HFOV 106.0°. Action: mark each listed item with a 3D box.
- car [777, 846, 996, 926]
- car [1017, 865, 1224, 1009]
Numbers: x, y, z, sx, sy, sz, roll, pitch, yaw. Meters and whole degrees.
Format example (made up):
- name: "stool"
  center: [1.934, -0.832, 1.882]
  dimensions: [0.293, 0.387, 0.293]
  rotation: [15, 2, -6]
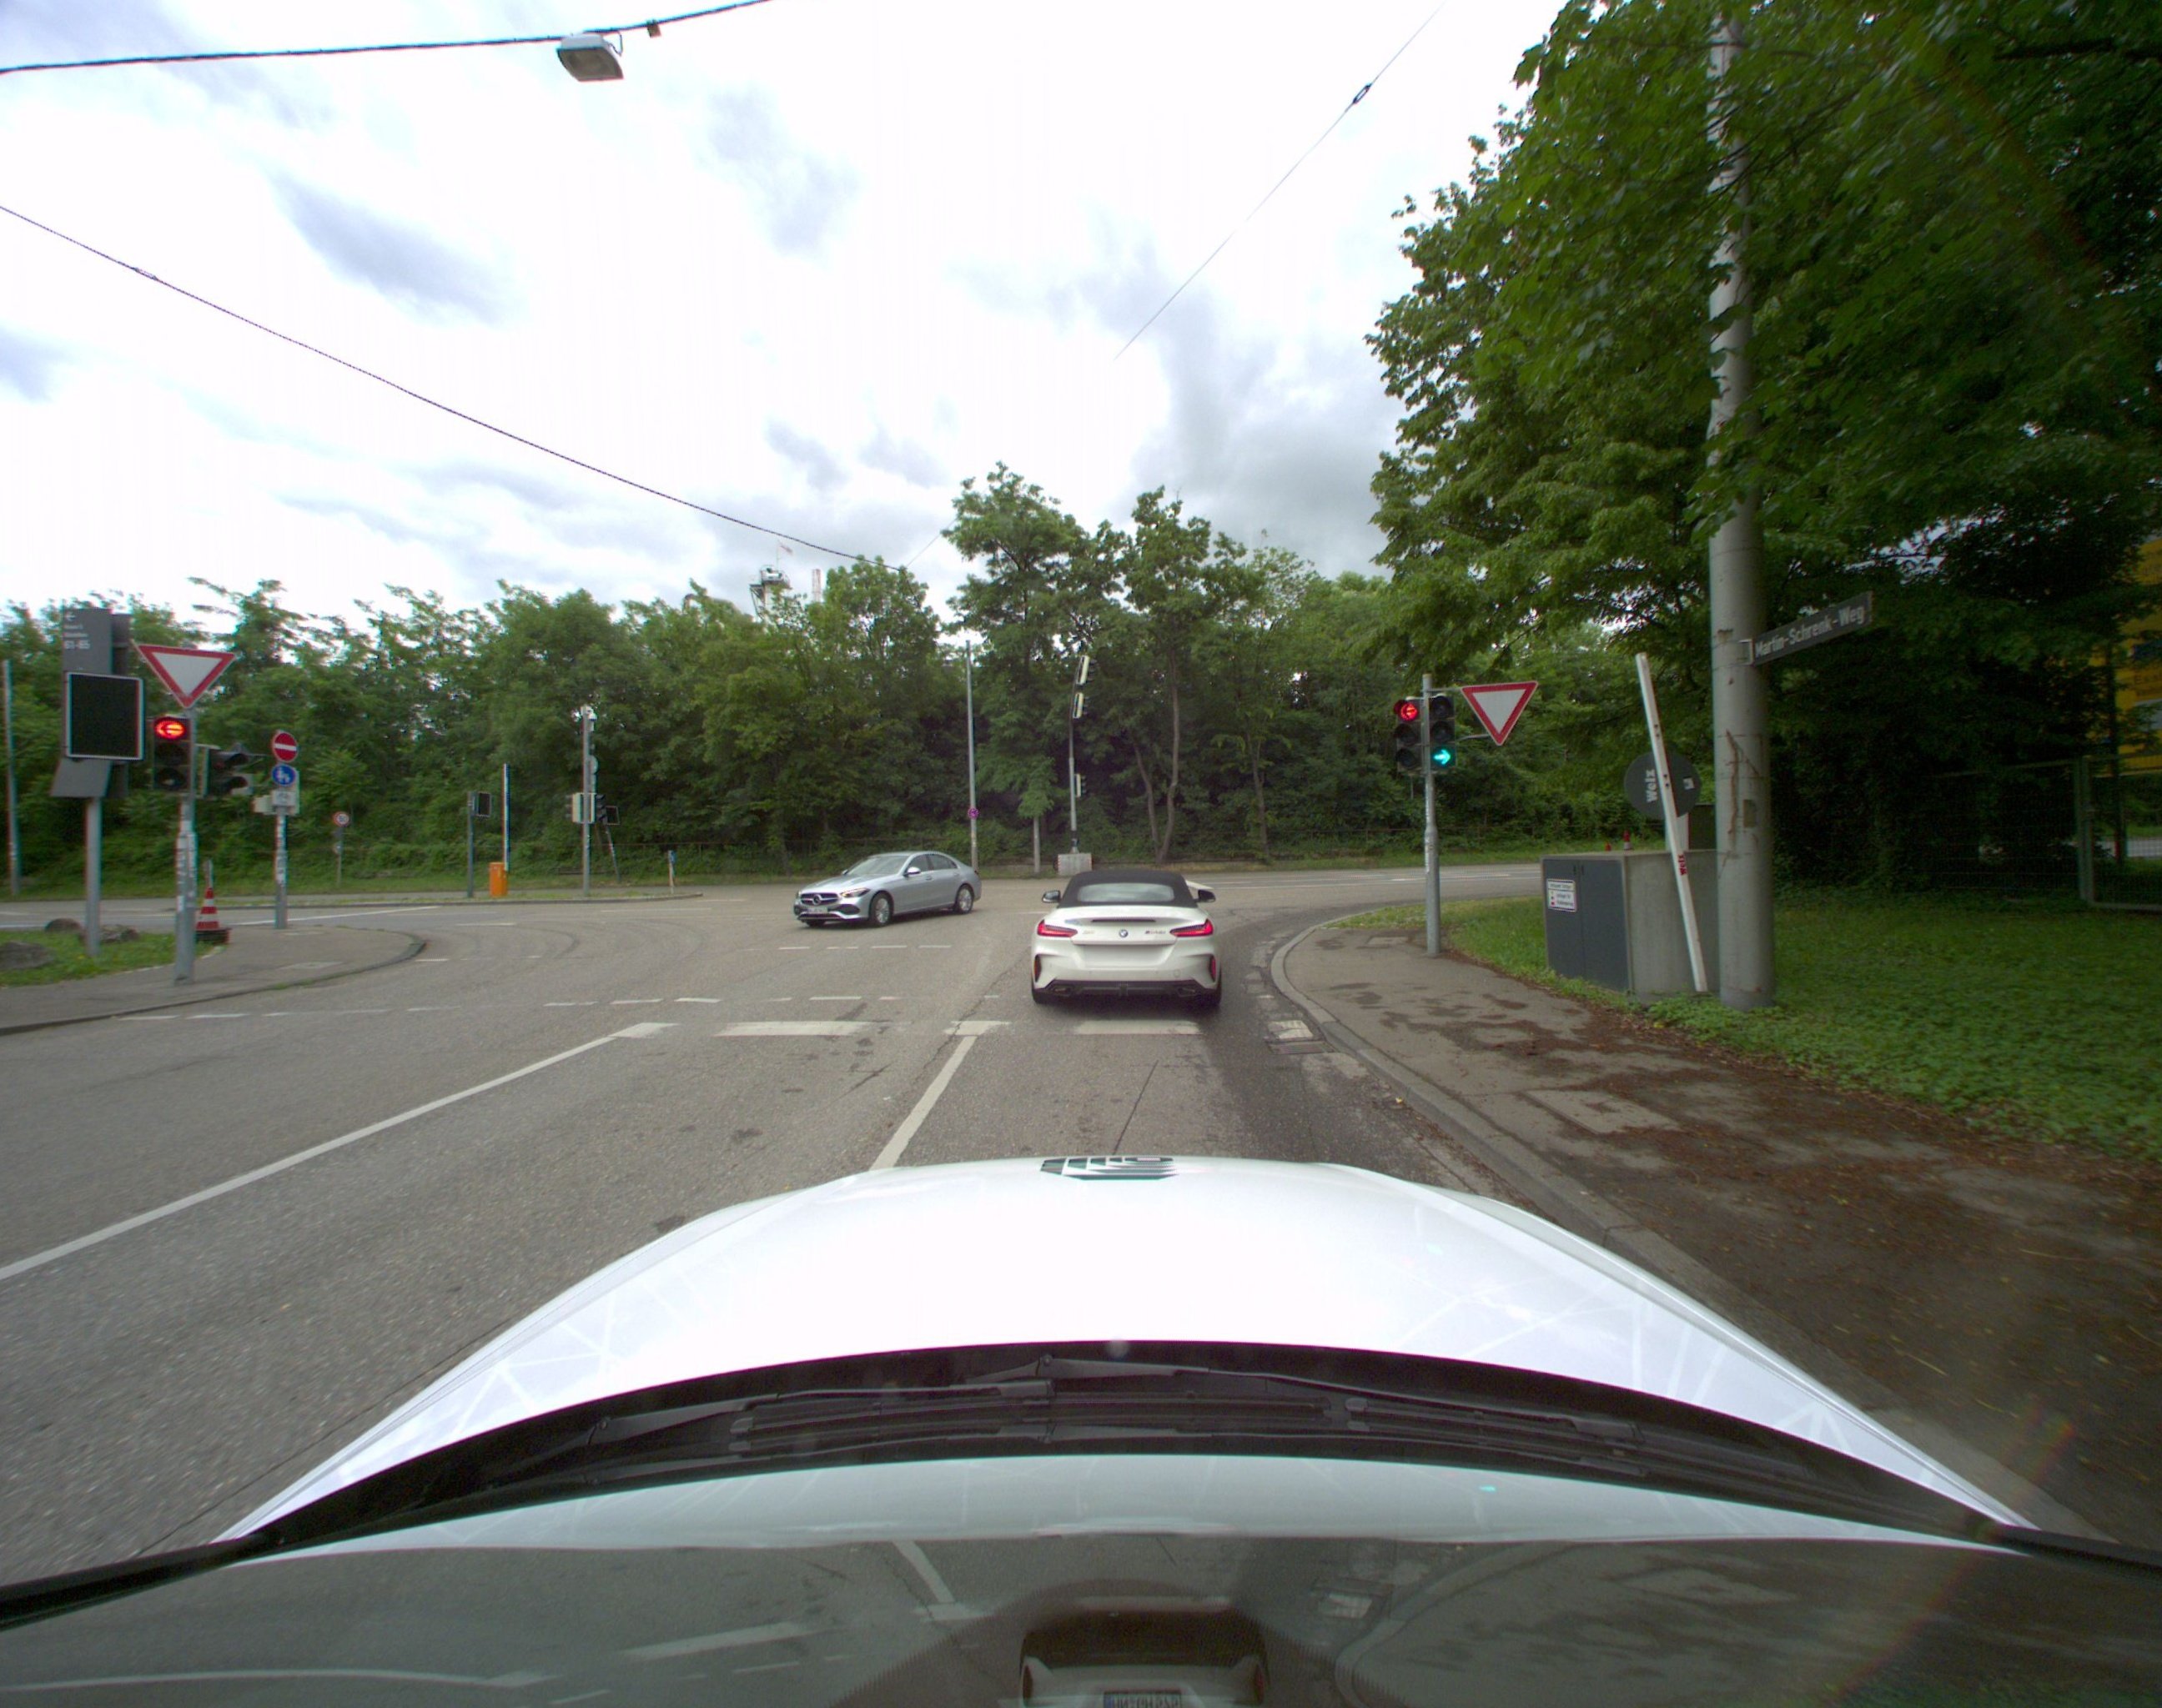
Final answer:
- name: "car"
  center: [-3.905, 0.564, 17.336]
  dimensions: [1.810, 1.333, 4.796]
  rotation: [0, 2, 27]
- name: "car"
  center: [0.443, 0.805, 9.189]
  dimensions: [1.820, 1.257, 4.002]
  rotation: [0, -2, 3]
